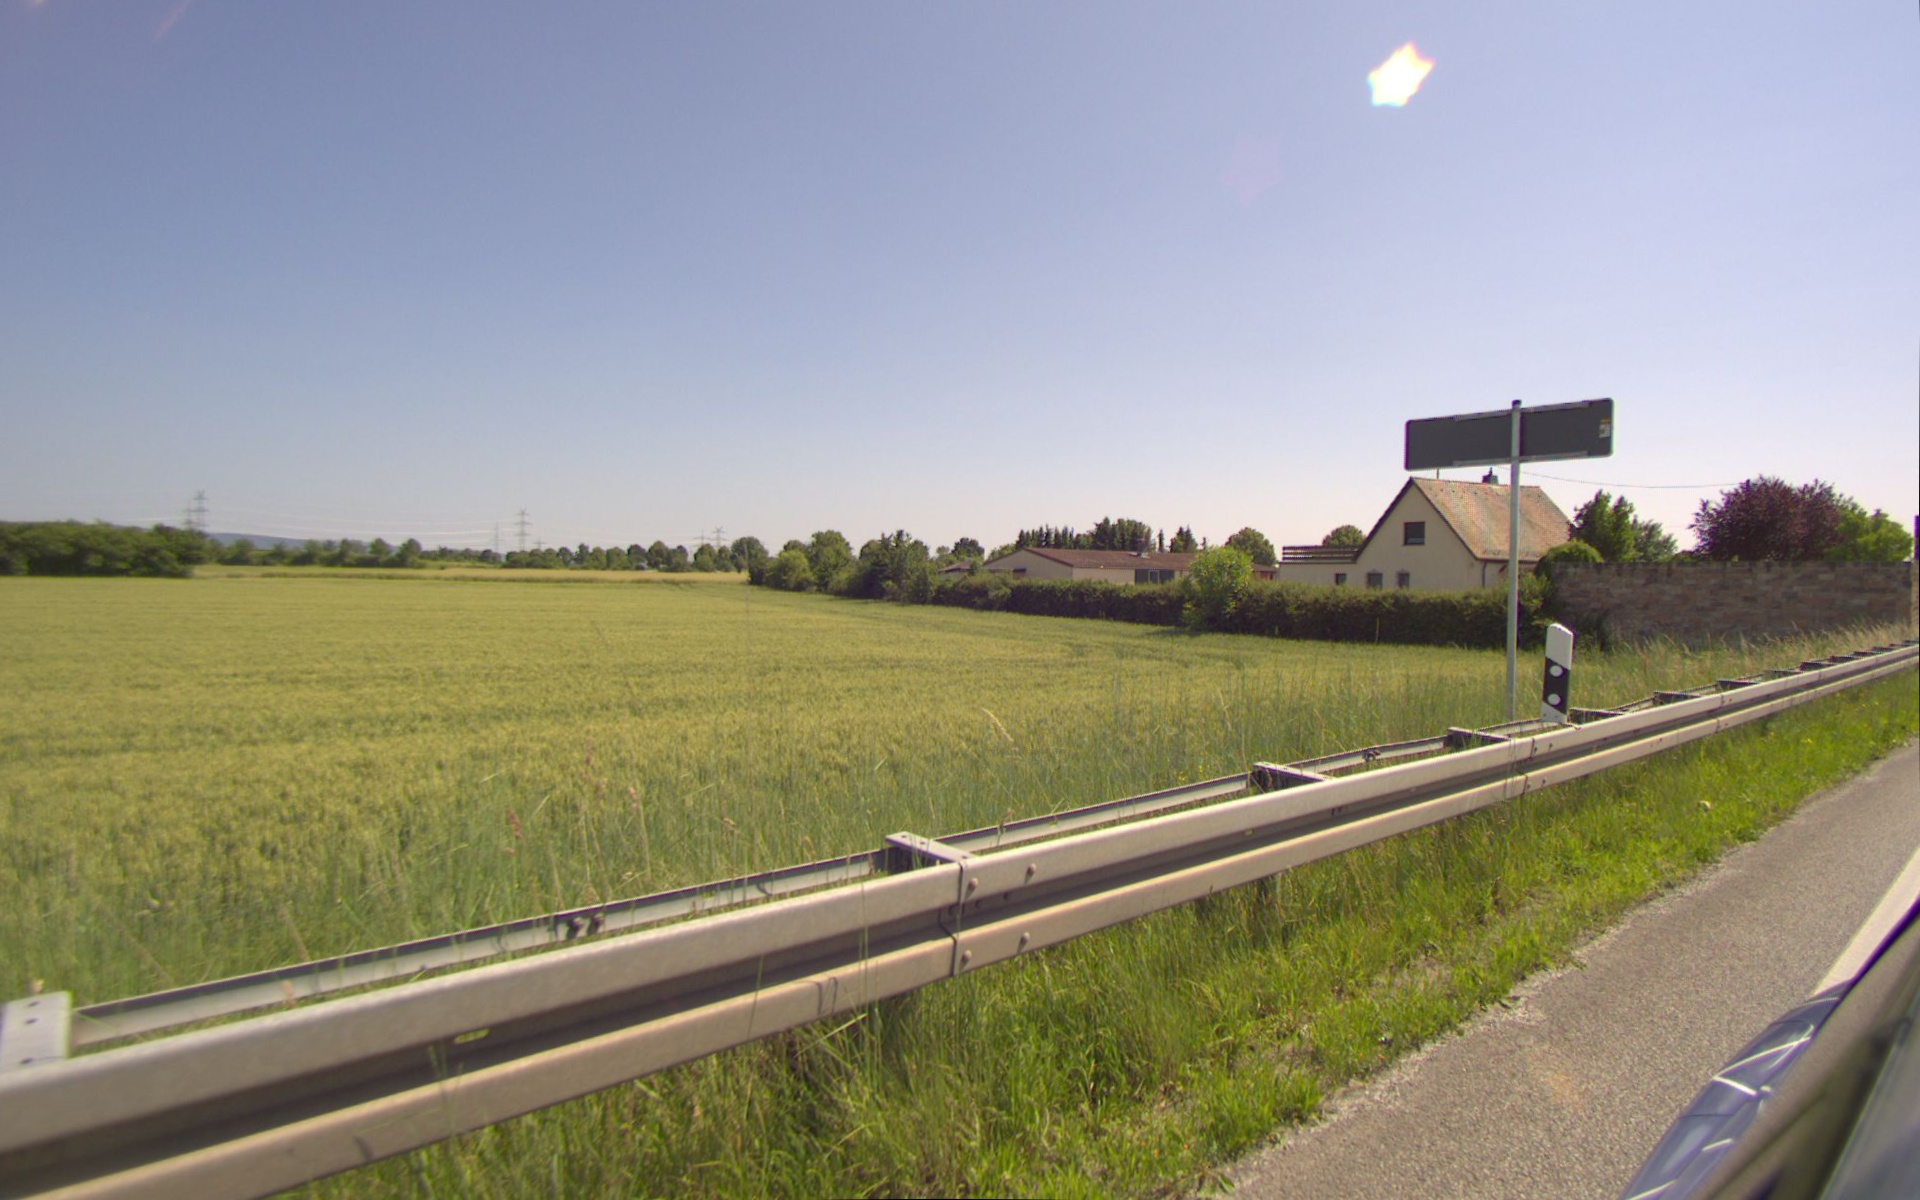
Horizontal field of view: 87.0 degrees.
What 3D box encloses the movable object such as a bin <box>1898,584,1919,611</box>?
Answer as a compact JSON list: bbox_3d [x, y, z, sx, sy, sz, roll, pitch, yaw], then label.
[{"bbox_3d":[85.723,-0.198,89.414,4.090,2.361,1.258,0,0,42],"label":"movable object such as a bin"}]
